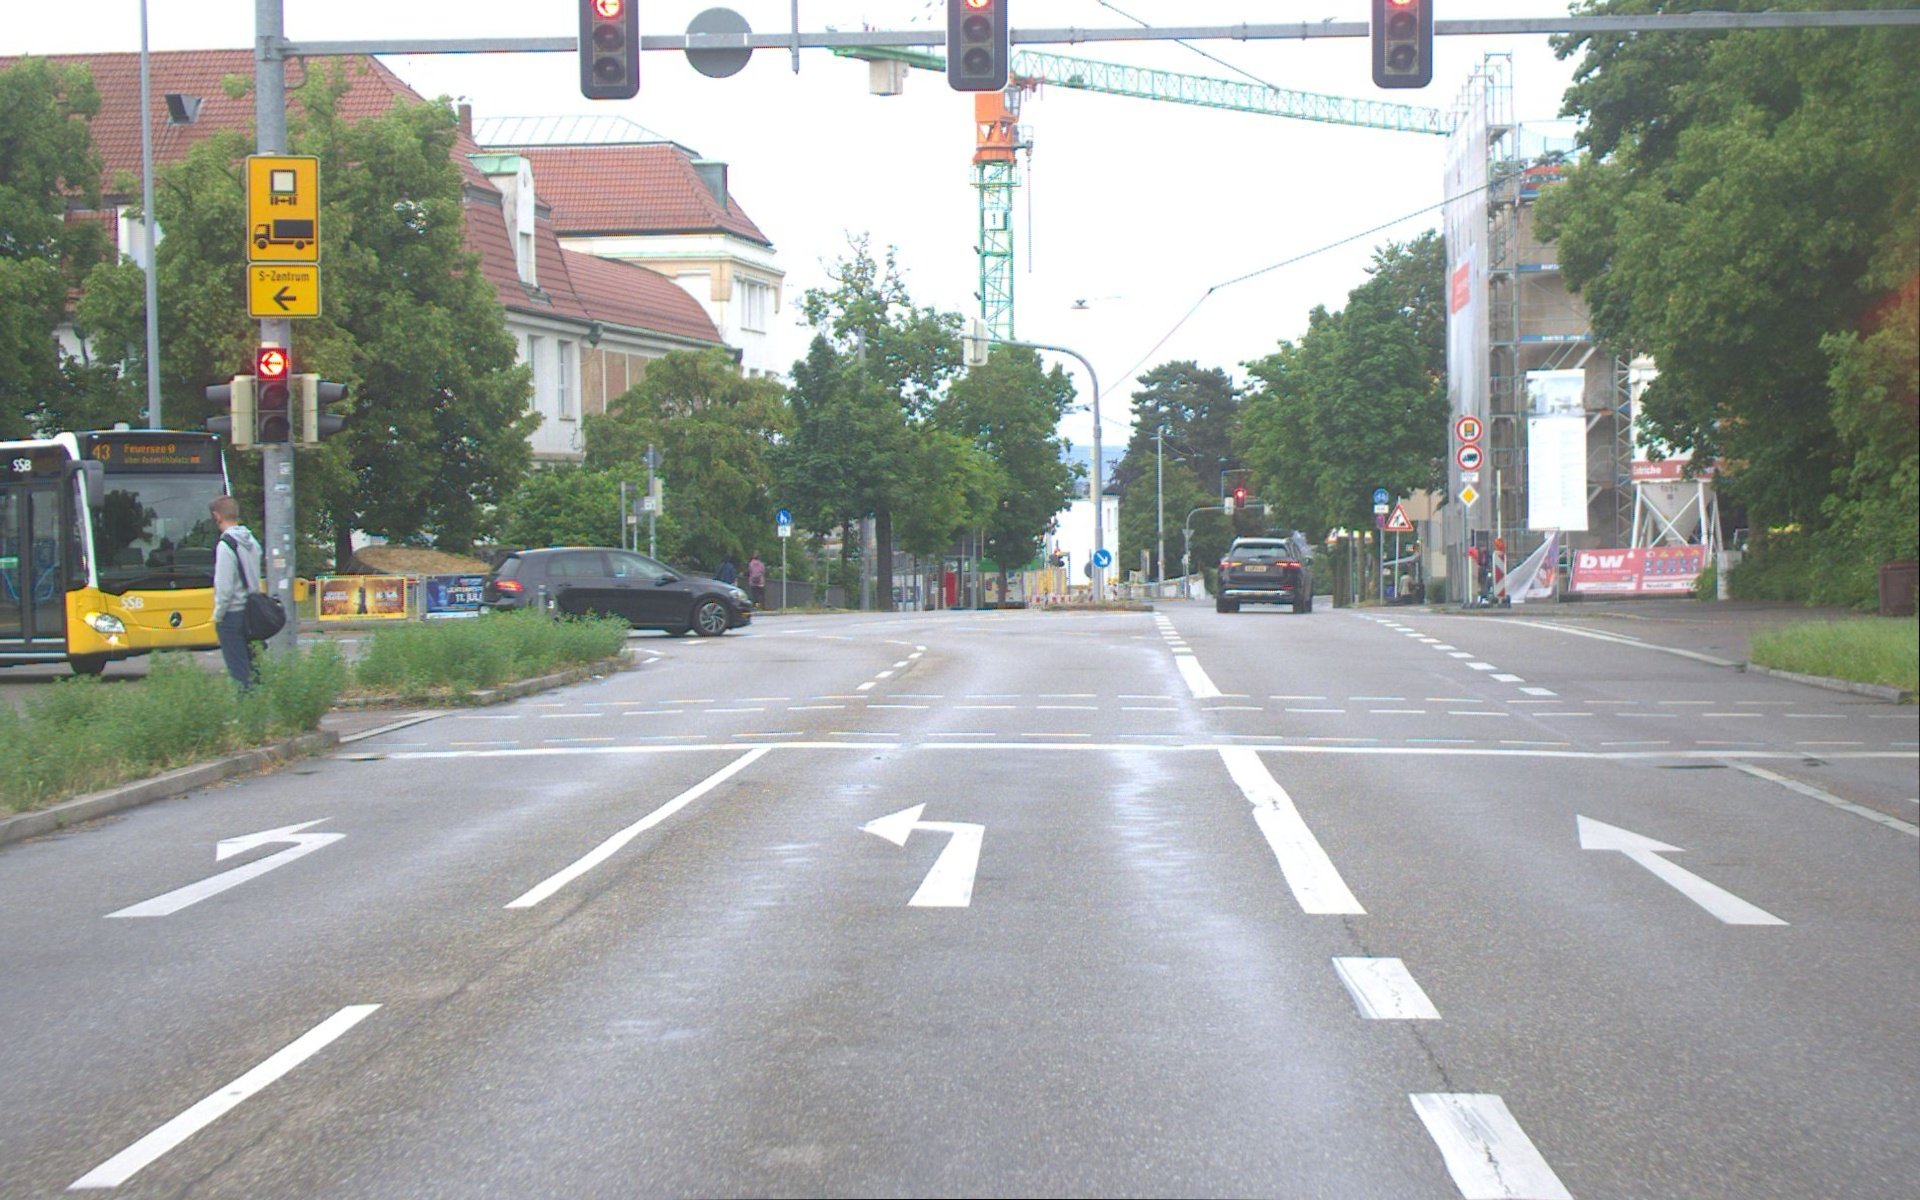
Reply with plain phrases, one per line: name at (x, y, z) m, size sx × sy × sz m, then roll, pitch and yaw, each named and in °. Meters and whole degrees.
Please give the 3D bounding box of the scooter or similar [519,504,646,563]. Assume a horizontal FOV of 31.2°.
scooter or similar at (-9.575, -1.694, 87.328) m, size 3.088 × 1.435 × 0.949 m, roll -1°, pitch 1°, yaw 1°

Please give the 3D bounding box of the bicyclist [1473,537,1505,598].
bicyclist at (13.827, -0.834, 89.848) m, size 0.720 × 1.558 × 1.142 m, roll 1°, pitch -1°, yaw 4°

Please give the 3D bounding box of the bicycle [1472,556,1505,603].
bicycle at (13.814, -0.526, 89.879) m, size 0.720 × 1.189 × 1.755 m, roll 1°, pitch -1°, yaw 4°

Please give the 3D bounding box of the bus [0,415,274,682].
bus at (-13.303, -0.610, 43.715) m, size 9.743 × 3.092 × 2.892 m, roll 0°, pitch 1°, yaw 34°

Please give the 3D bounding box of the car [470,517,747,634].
car at (-5.476, -0.364, 53.347) m, size 3.986 × 1.700 × 2.000 m, roll 1°, pitch -1°, yaw -15°

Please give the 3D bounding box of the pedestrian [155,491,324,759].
pedestrian at (-5.617, 0.187, 26.860) m, size 0.940 × 2.007 × 0.847 m, roll -3°, pitch 1°, yaw 8°

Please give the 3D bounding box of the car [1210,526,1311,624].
car at (6.504, -0.514, 74.755) m, size 1.944 × 2.014 × 4.550 m, roll 1°, pitch -1°, yaw 2°
